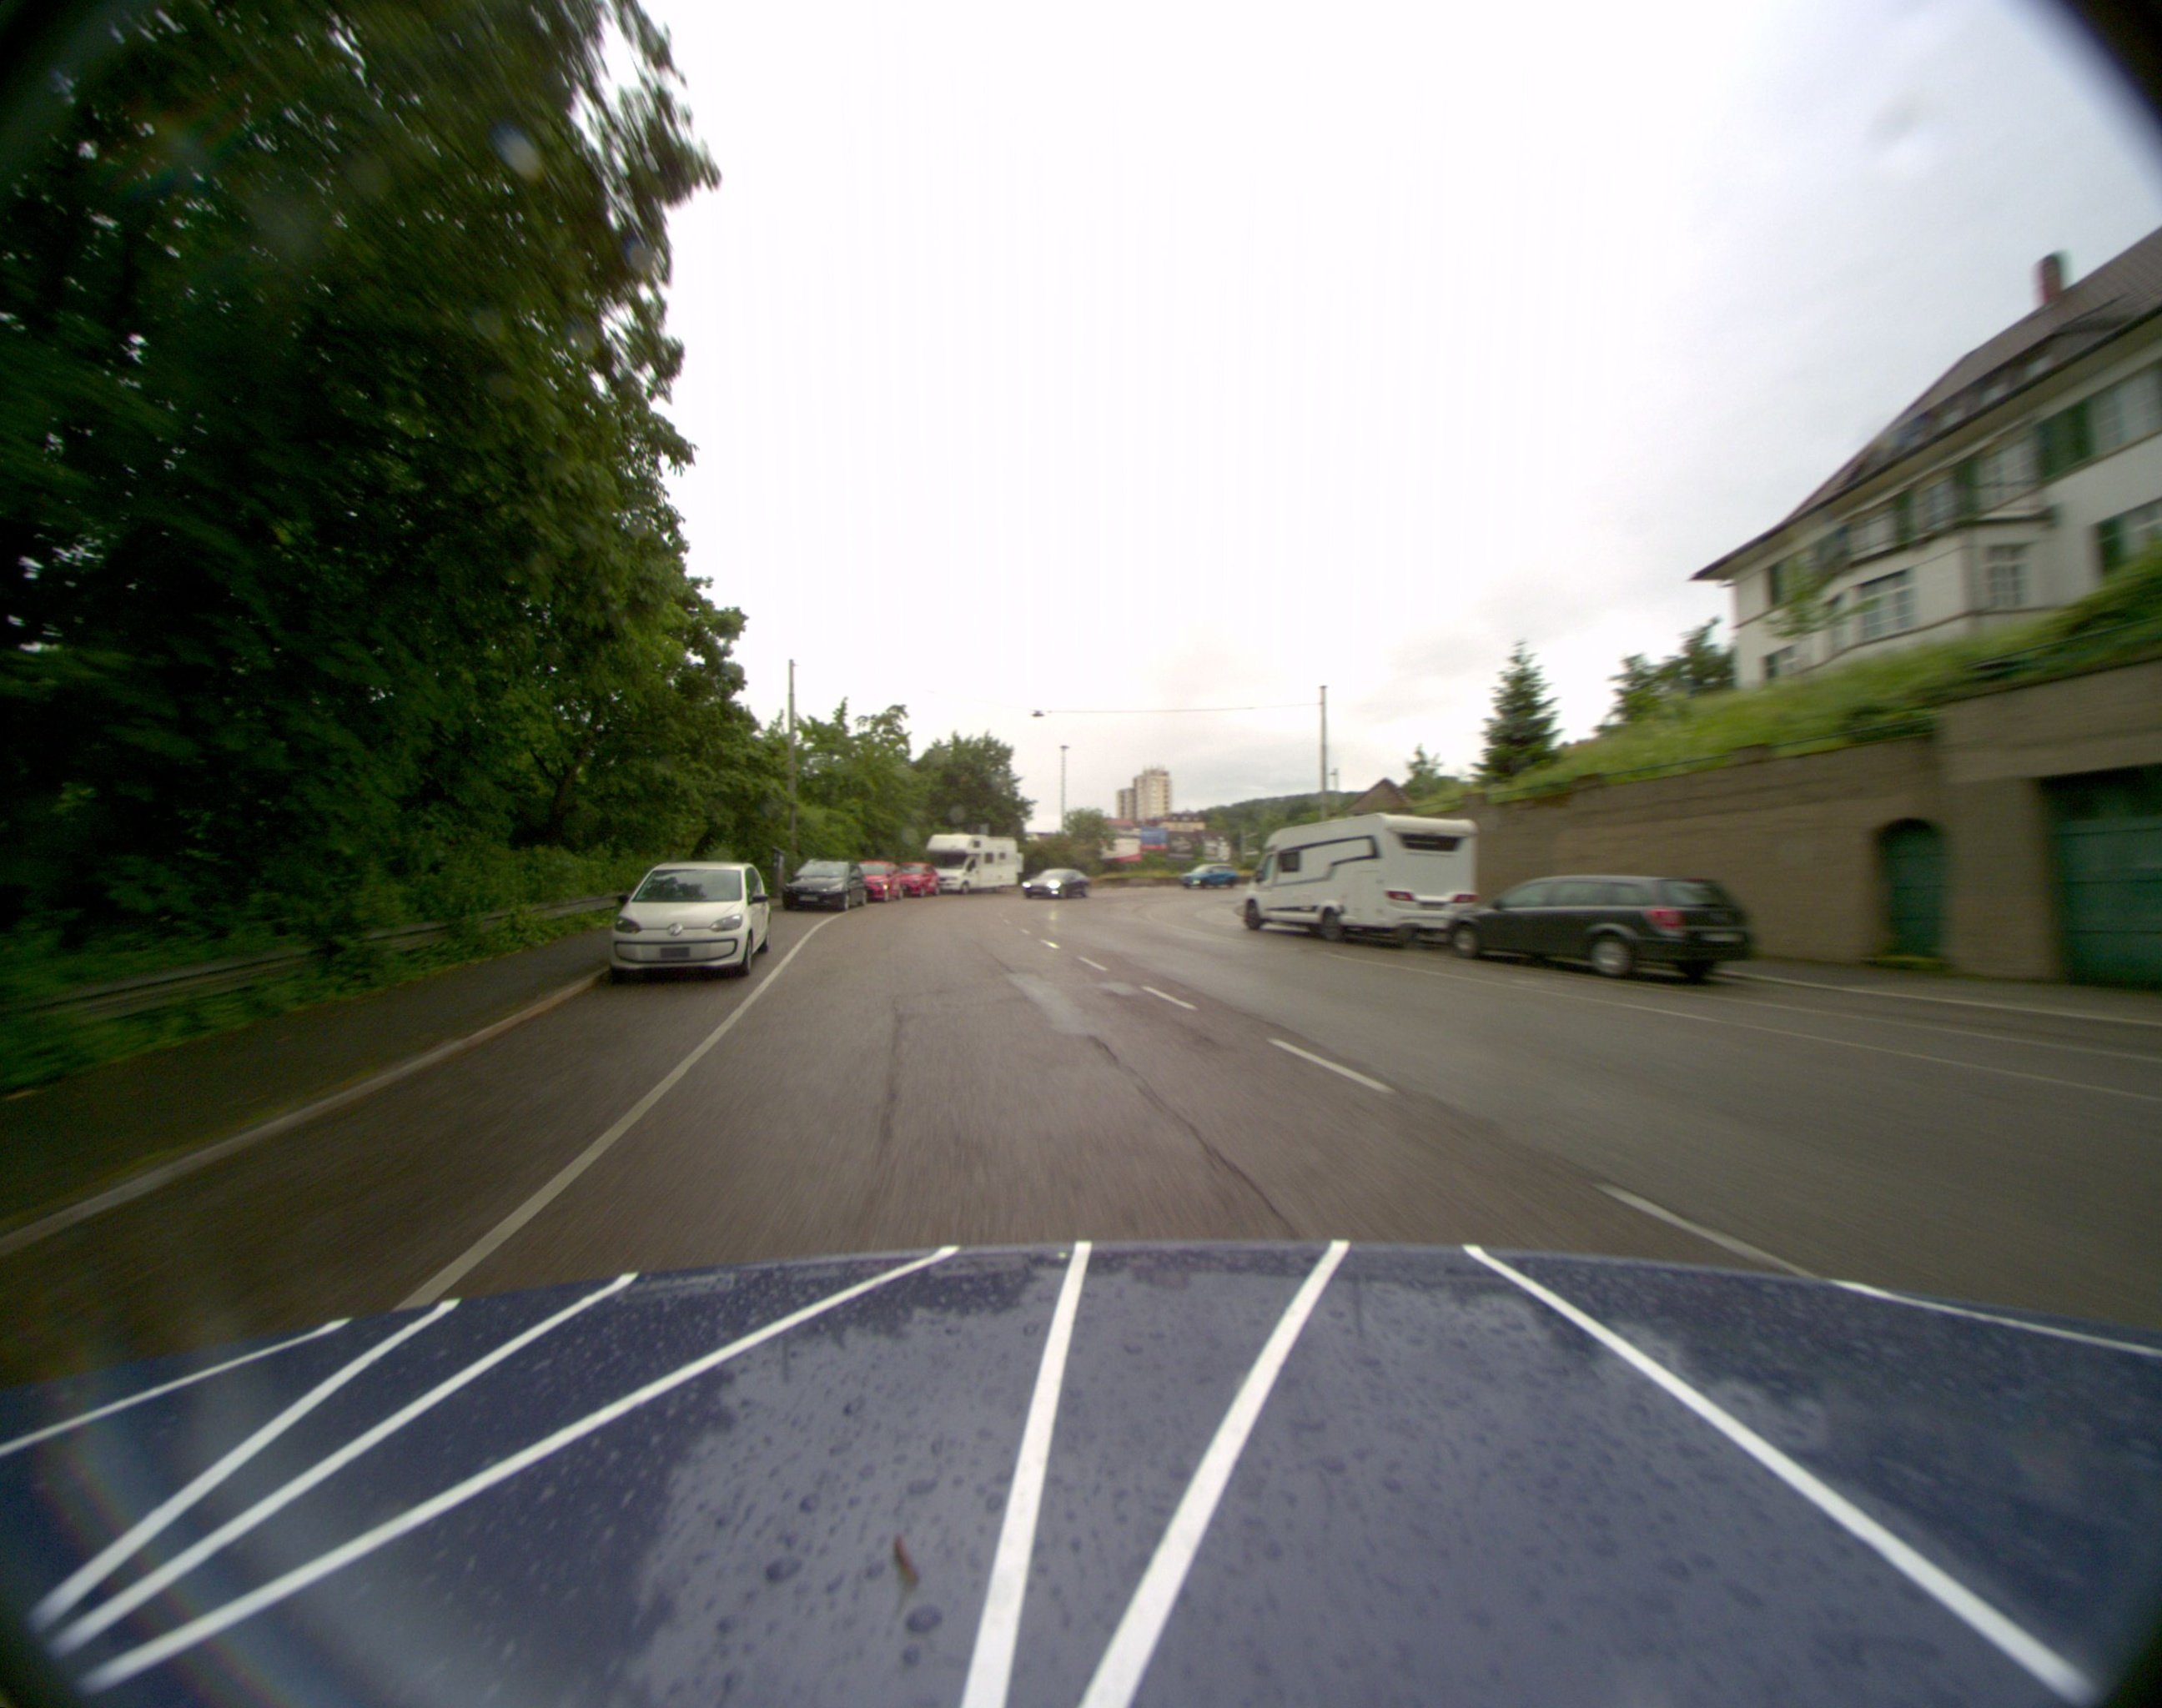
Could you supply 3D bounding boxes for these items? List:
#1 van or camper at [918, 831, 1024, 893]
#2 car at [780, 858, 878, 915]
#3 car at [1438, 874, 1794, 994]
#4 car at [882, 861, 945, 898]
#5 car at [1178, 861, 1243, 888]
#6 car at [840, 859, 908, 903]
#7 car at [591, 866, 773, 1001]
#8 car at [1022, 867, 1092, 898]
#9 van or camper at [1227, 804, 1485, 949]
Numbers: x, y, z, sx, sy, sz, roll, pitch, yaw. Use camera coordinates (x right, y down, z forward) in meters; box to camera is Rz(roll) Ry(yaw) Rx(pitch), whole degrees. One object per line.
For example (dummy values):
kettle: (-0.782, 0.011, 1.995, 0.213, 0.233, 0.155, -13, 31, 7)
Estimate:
van or camper: (-5.553, 0.421, 39.452, 2.391, 2.927, 6.293, 1, 0, 23)
car: (-7.529, 0.926, 23.154, 1.723, 1.504, 4.594, 2, -1, -5)
car: (7.855, 1.089, 11.781, 1.794, 1.489, 4.367, 1, -2, -15)
car: (-7.312, 1.083, 33.426, 1.644, 1.452, 3.808, 2, 0, 4)
car: (8.634, 1.390, 50.702, 4.048, 1.599, 1.799, 3, -5, -29)
car: (-7.655, 0.997, 28.457, 1.562, 1.504, 3.676, 1, -1, -1)
car: (-5.445, 0.957, 10.829, 1.591, 1.493, 3.661, -1, 1, -17)
car: (-1.090, 1.373, 37.378, 1.832, 1.383, 4.332, 0, -1, 22)
van or camper: (6.091, 0.552, 18.290, 2.164, 2.771, 7.042, 2, -2, -15)
